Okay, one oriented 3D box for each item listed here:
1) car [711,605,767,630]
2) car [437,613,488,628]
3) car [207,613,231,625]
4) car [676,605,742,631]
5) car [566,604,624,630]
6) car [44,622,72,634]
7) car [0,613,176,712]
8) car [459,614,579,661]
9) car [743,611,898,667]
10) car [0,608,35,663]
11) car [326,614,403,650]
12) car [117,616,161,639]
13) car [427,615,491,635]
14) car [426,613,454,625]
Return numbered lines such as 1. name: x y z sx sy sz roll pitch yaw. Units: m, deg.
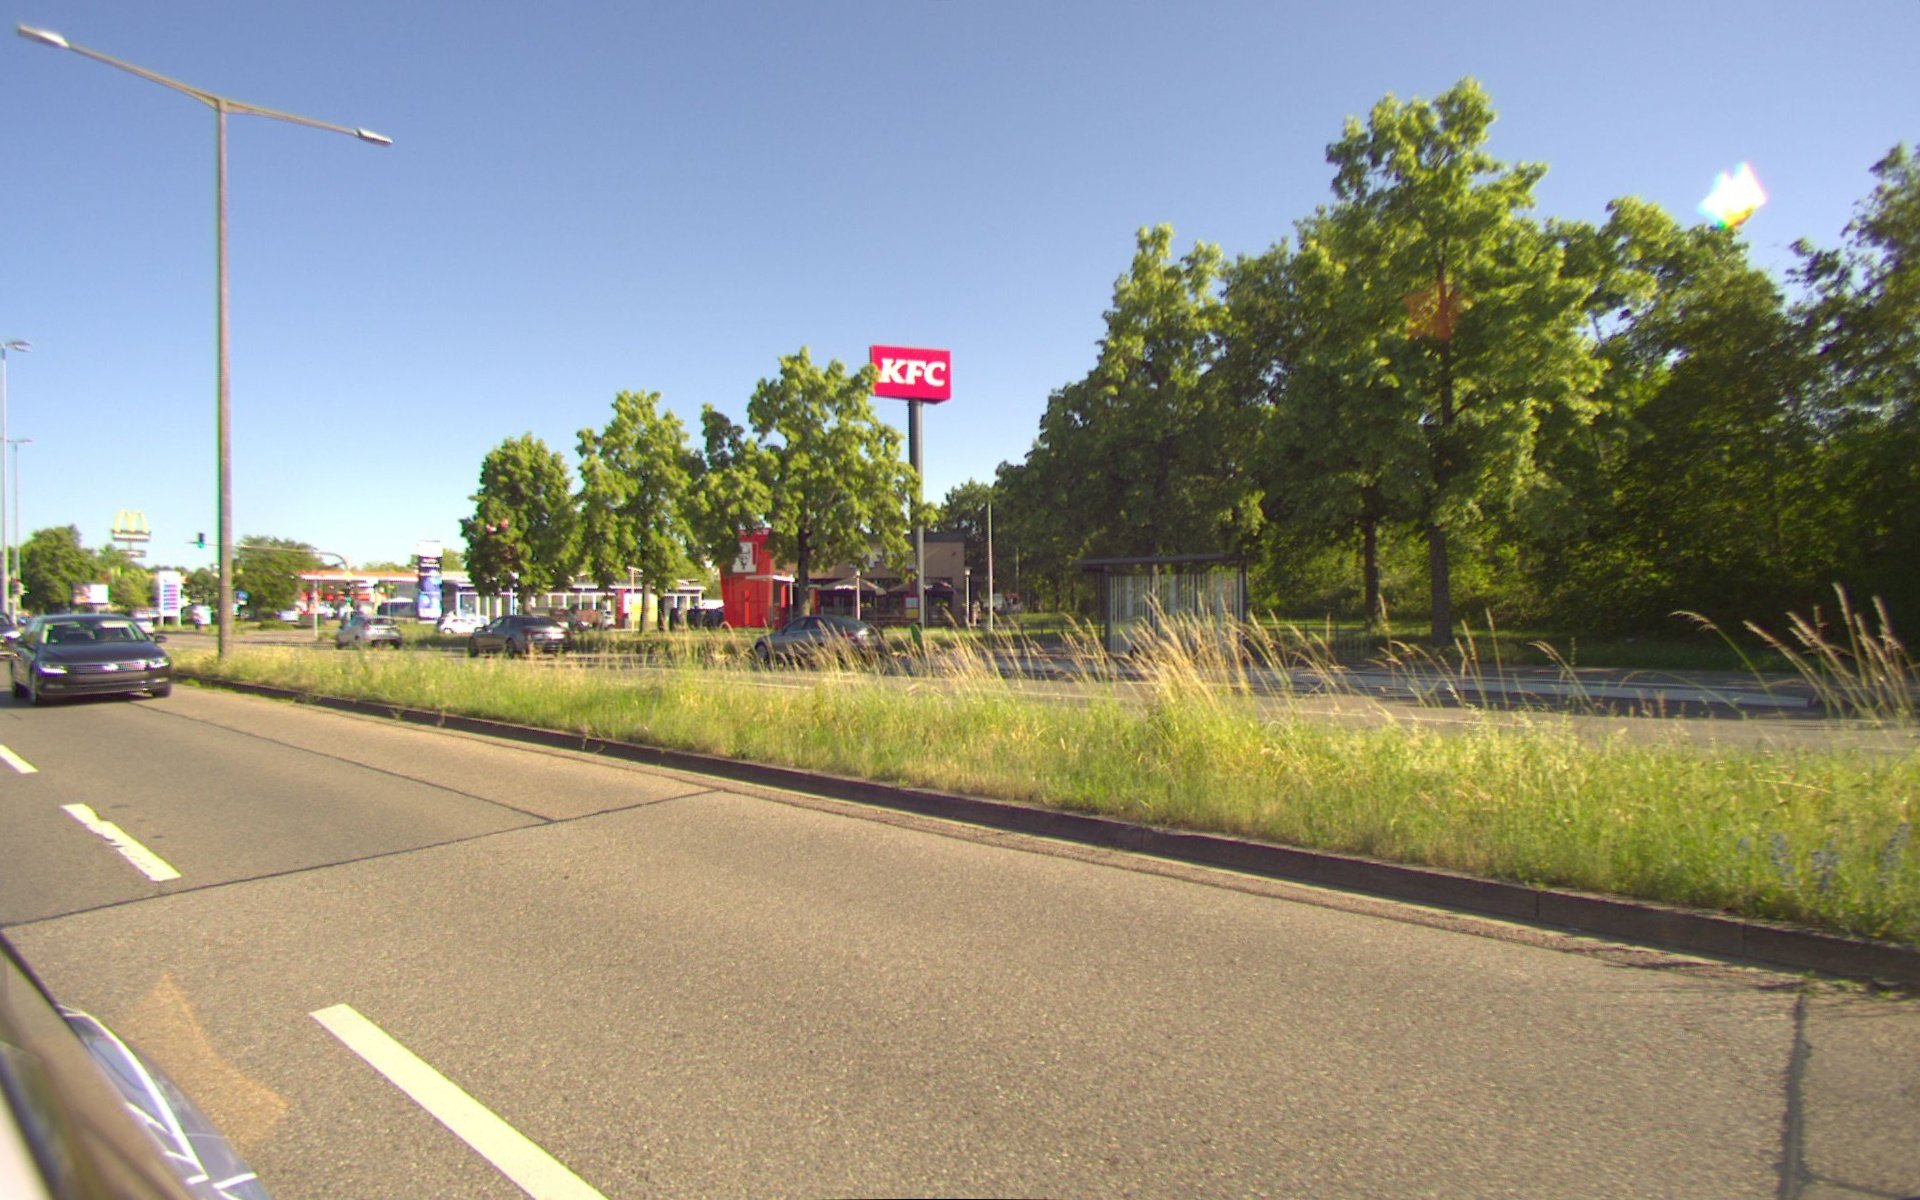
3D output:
1. car: -16.745 1.320 76.845 3.941 1.761 1.885 -1 -1 -3
2. car: -48.581 2.023 98.933 1.901 1.443 4.062 -1 -2 42
3. car: -102.712 2.587 140.325 4.117 1.625 1.739 -1 -2 40
4. car: -17.882 1.247 72.188 4.182 1.674 1.896 -1 1 -1
5. car: -27.917 1.294 77.495 3.778 1.864 1.846 -1 1 2
6. car: -107.224 3.287 120.242 4.621 1.387 1.972 -1 -1 42
7. car: -15.299 1.003 17.672 4.264 1.464 1.824 -1 0 42
8. car: -14.456 1.201 33.045 4.629 1.446 1.798 -1 -3 41
9. car: -4.014 1.076 28.769 4.488 1.466 1.894 -1 -3 41
10. car: -31.751 1.141 32.898 4.694 1.696 1.973 -1 1 42
11. car: -25.438 1.352 43.202 4.110 1.462 1.623 -1 -3 41
12. car: -62.394 2.068 76.901 4.175 1.697 1.972 -1 -2 42
13. car: -39.740 1.982 80.271 2.000 1.485 4.137 -1 -1 42
14. car: -69.900 2.580 135.973 4.117 1.603 1.875 -1 -2 41
